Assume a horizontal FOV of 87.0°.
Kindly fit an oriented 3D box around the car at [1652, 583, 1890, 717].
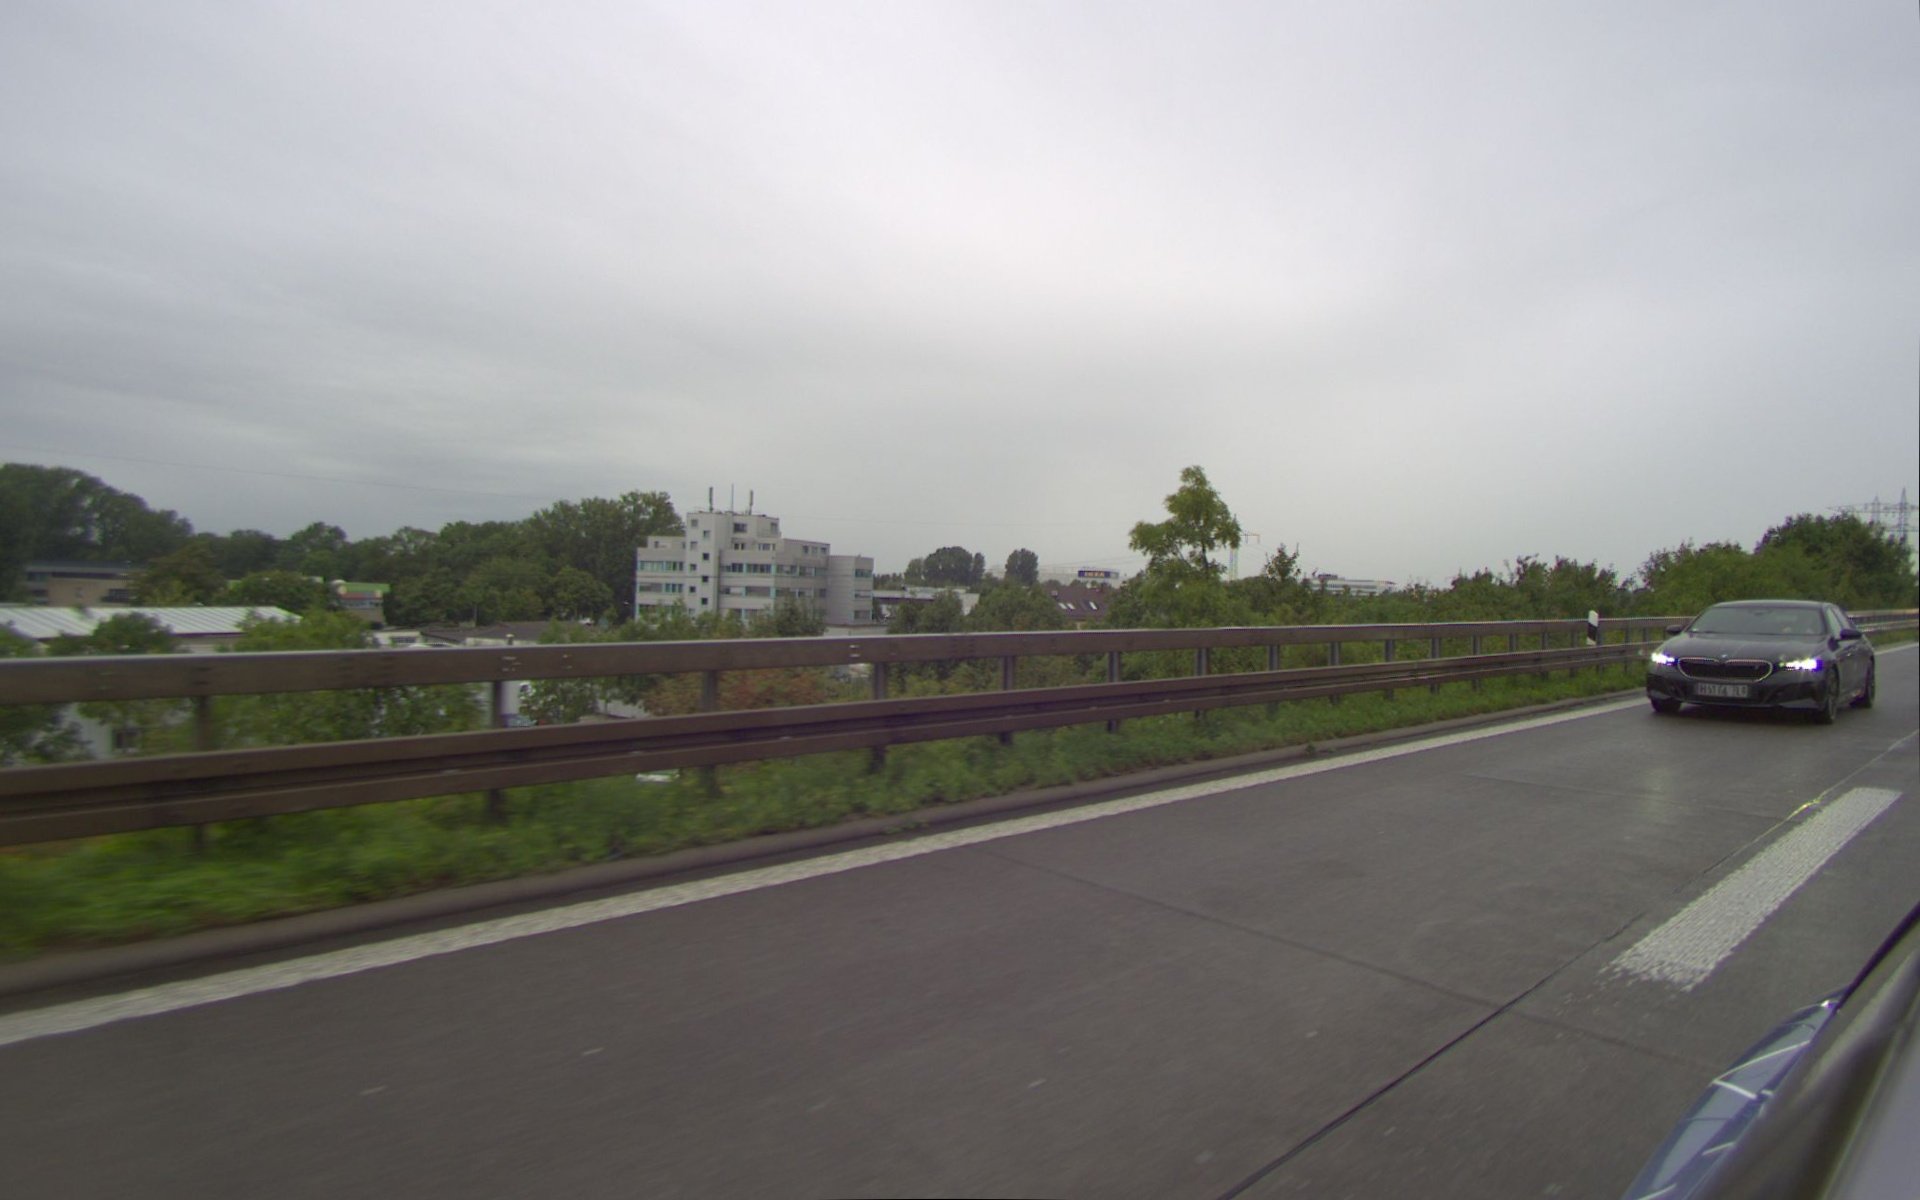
[{"bbox_3d":[11.126,0.601,13.787,4.130,1.560,1.860,1,-1,-42],"label":"car"}]
